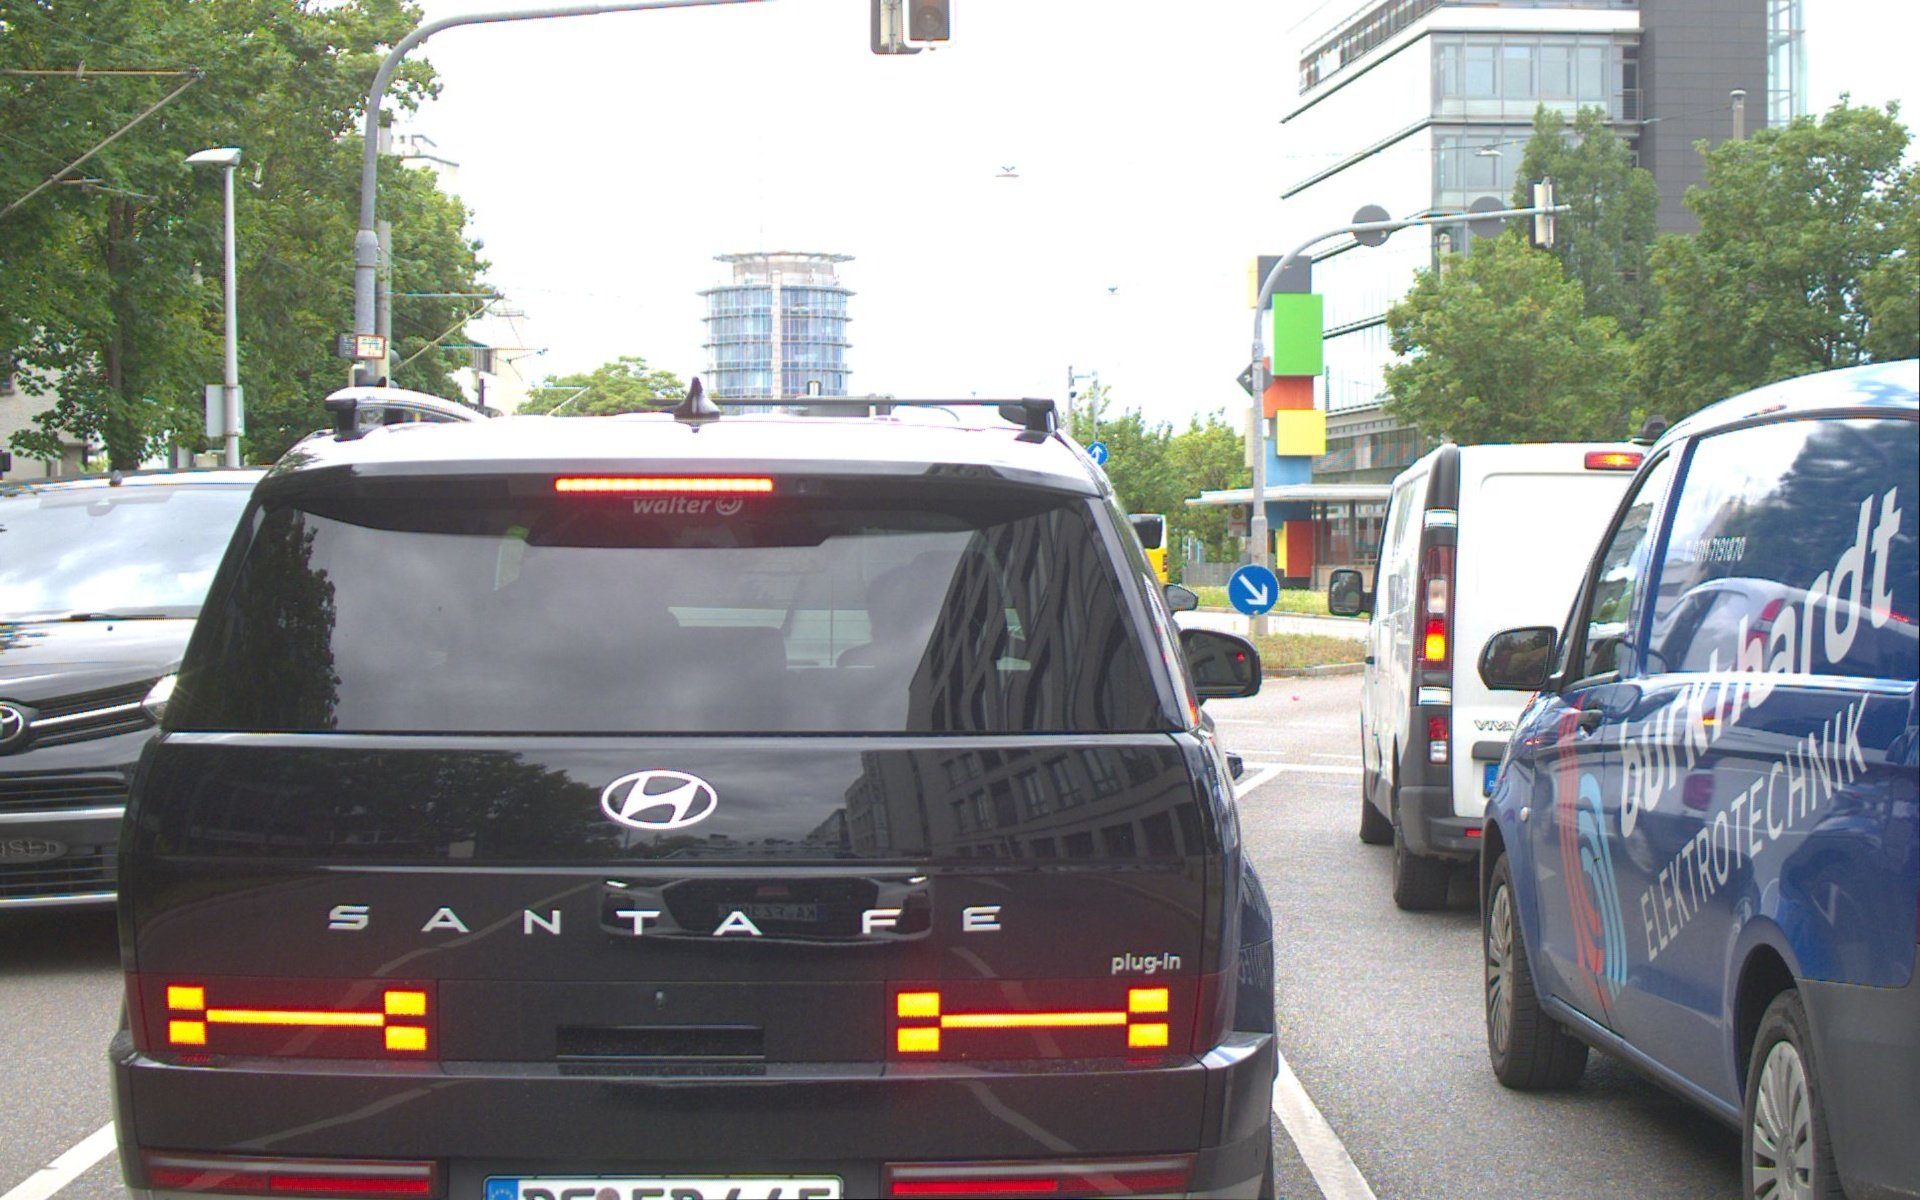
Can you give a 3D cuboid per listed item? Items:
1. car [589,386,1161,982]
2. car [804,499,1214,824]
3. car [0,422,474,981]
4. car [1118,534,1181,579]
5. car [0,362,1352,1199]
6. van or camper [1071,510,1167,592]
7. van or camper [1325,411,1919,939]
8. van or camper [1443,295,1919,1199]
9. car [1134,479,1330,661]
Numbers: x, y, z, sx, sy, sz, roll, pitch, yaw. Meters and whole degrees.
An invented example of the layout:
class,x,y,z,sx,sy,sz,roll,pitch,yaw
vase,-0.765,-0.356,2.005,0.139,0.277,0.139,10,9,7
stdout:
class,x,y,z,sx,sy,sz,roll,pitch,yaw
car,-0.307,0.249,13.502,1.915,1.996,3.880,0,1,-1
car,0.410,0.307,20.450,1.776,1.711,4.337,1,0,10
car,-3.368,0.350,14.469,1.993,1.941,4.737,-1,0,-1
car,7.251,-1.645,131.823,1.993,1.678,4.000,0,0,-3
car,-0.414,0.520,6.667,1.869,1.754,3.880,0,1,-1
van or camper,5.170,-1.554,110.783,1.994,2.538,6.575,1,0,12
van or camper,2.798,0.245,15.509,1.994,2.007,4.652,1,1,3
van or camper,2.401,0.433,7.764,1.859,1.904,5.032,0,1,-1
car,3.128,-0.350,40.227,1.993,2.007,4.000,0,0,1
